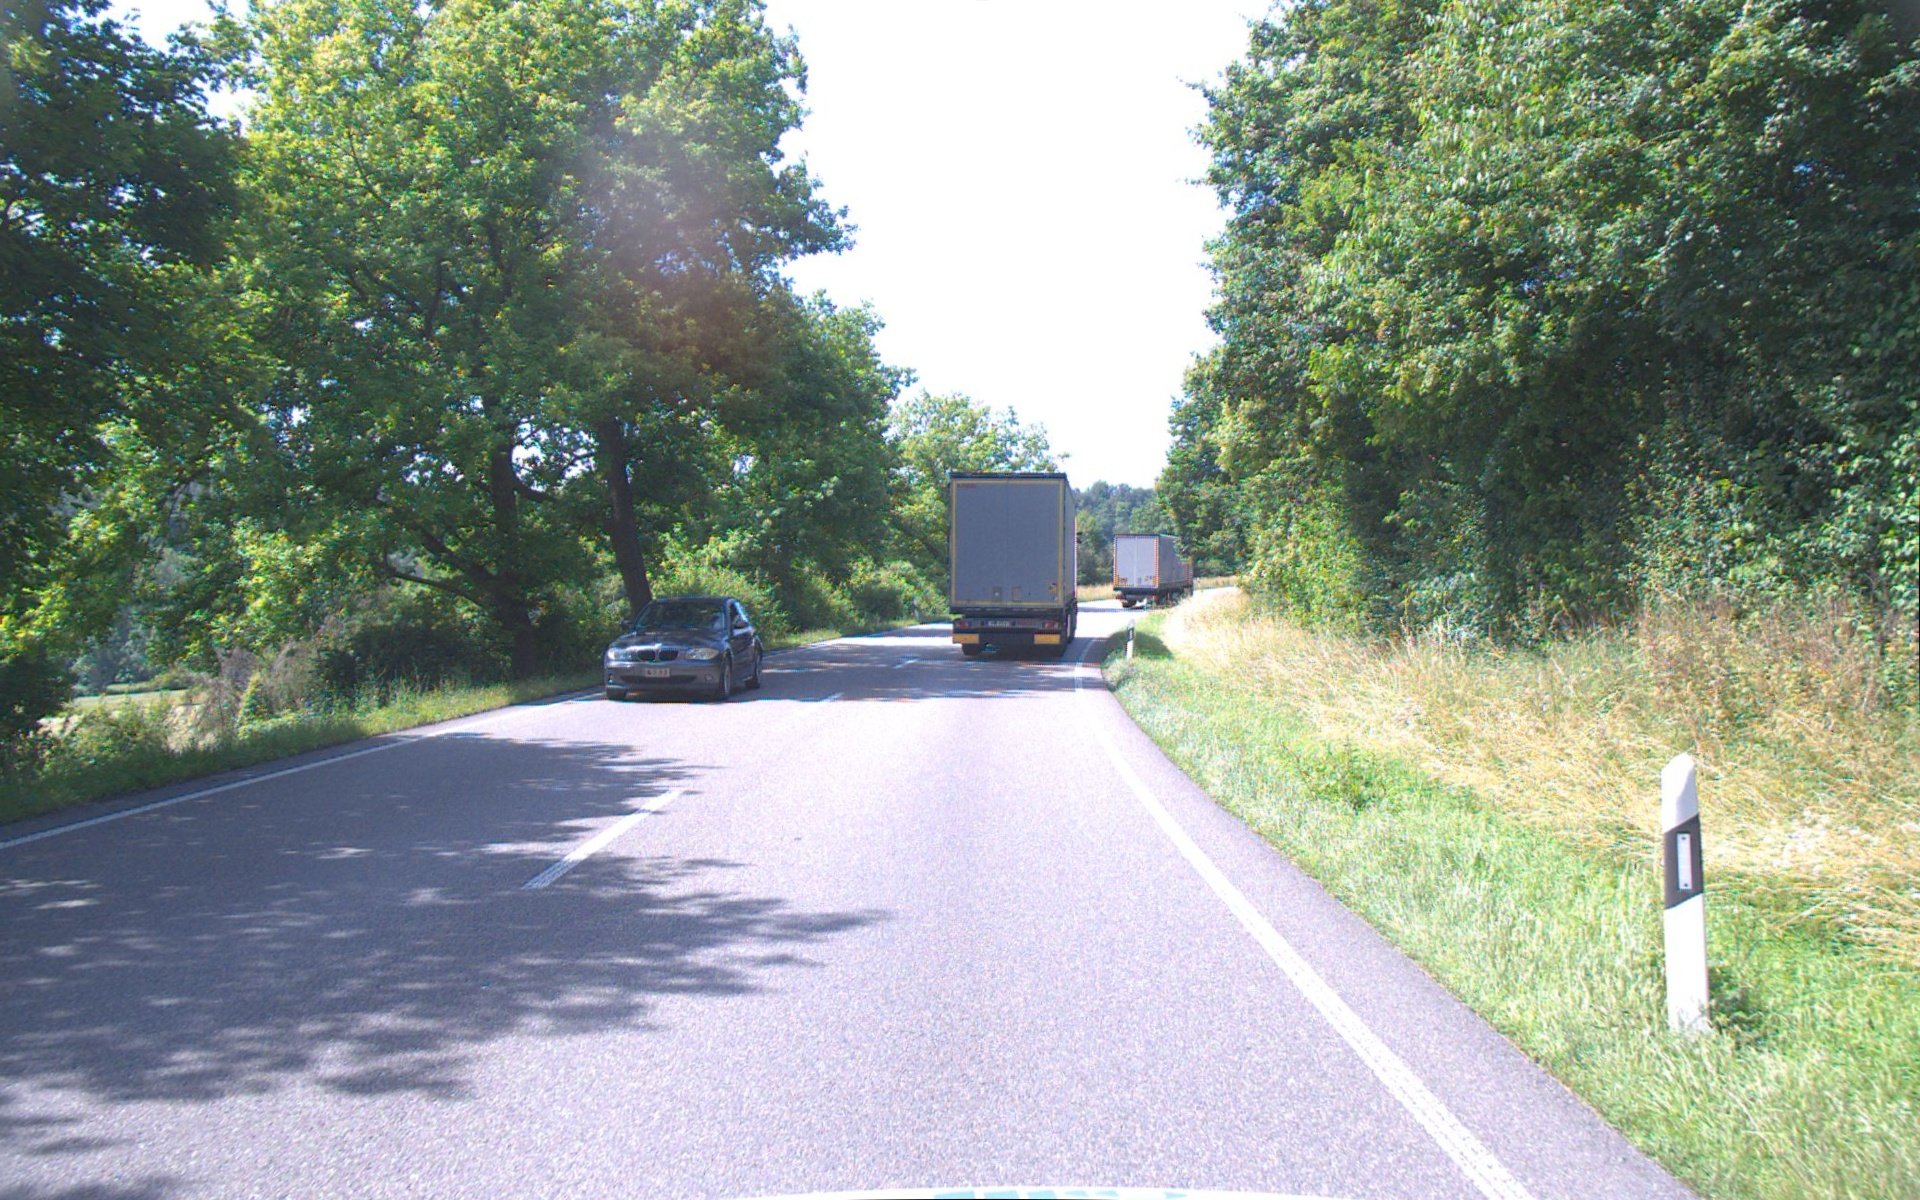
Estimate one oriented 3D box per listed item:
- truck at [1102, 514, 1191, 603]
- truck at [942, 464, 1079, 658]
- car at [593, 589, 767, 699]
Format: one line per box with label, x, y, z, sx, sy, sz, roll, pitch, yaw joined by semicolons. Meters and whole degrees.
truck;11.249;-2.395;97.851;3.039;4.787;16.604;-1;1;14
truck;1.625;-0.981;42.980;2.742;4.139;15.336;0;1;5
car;-4.000;0.579;24.291;1.722;1.457;4.270;0;0;1
